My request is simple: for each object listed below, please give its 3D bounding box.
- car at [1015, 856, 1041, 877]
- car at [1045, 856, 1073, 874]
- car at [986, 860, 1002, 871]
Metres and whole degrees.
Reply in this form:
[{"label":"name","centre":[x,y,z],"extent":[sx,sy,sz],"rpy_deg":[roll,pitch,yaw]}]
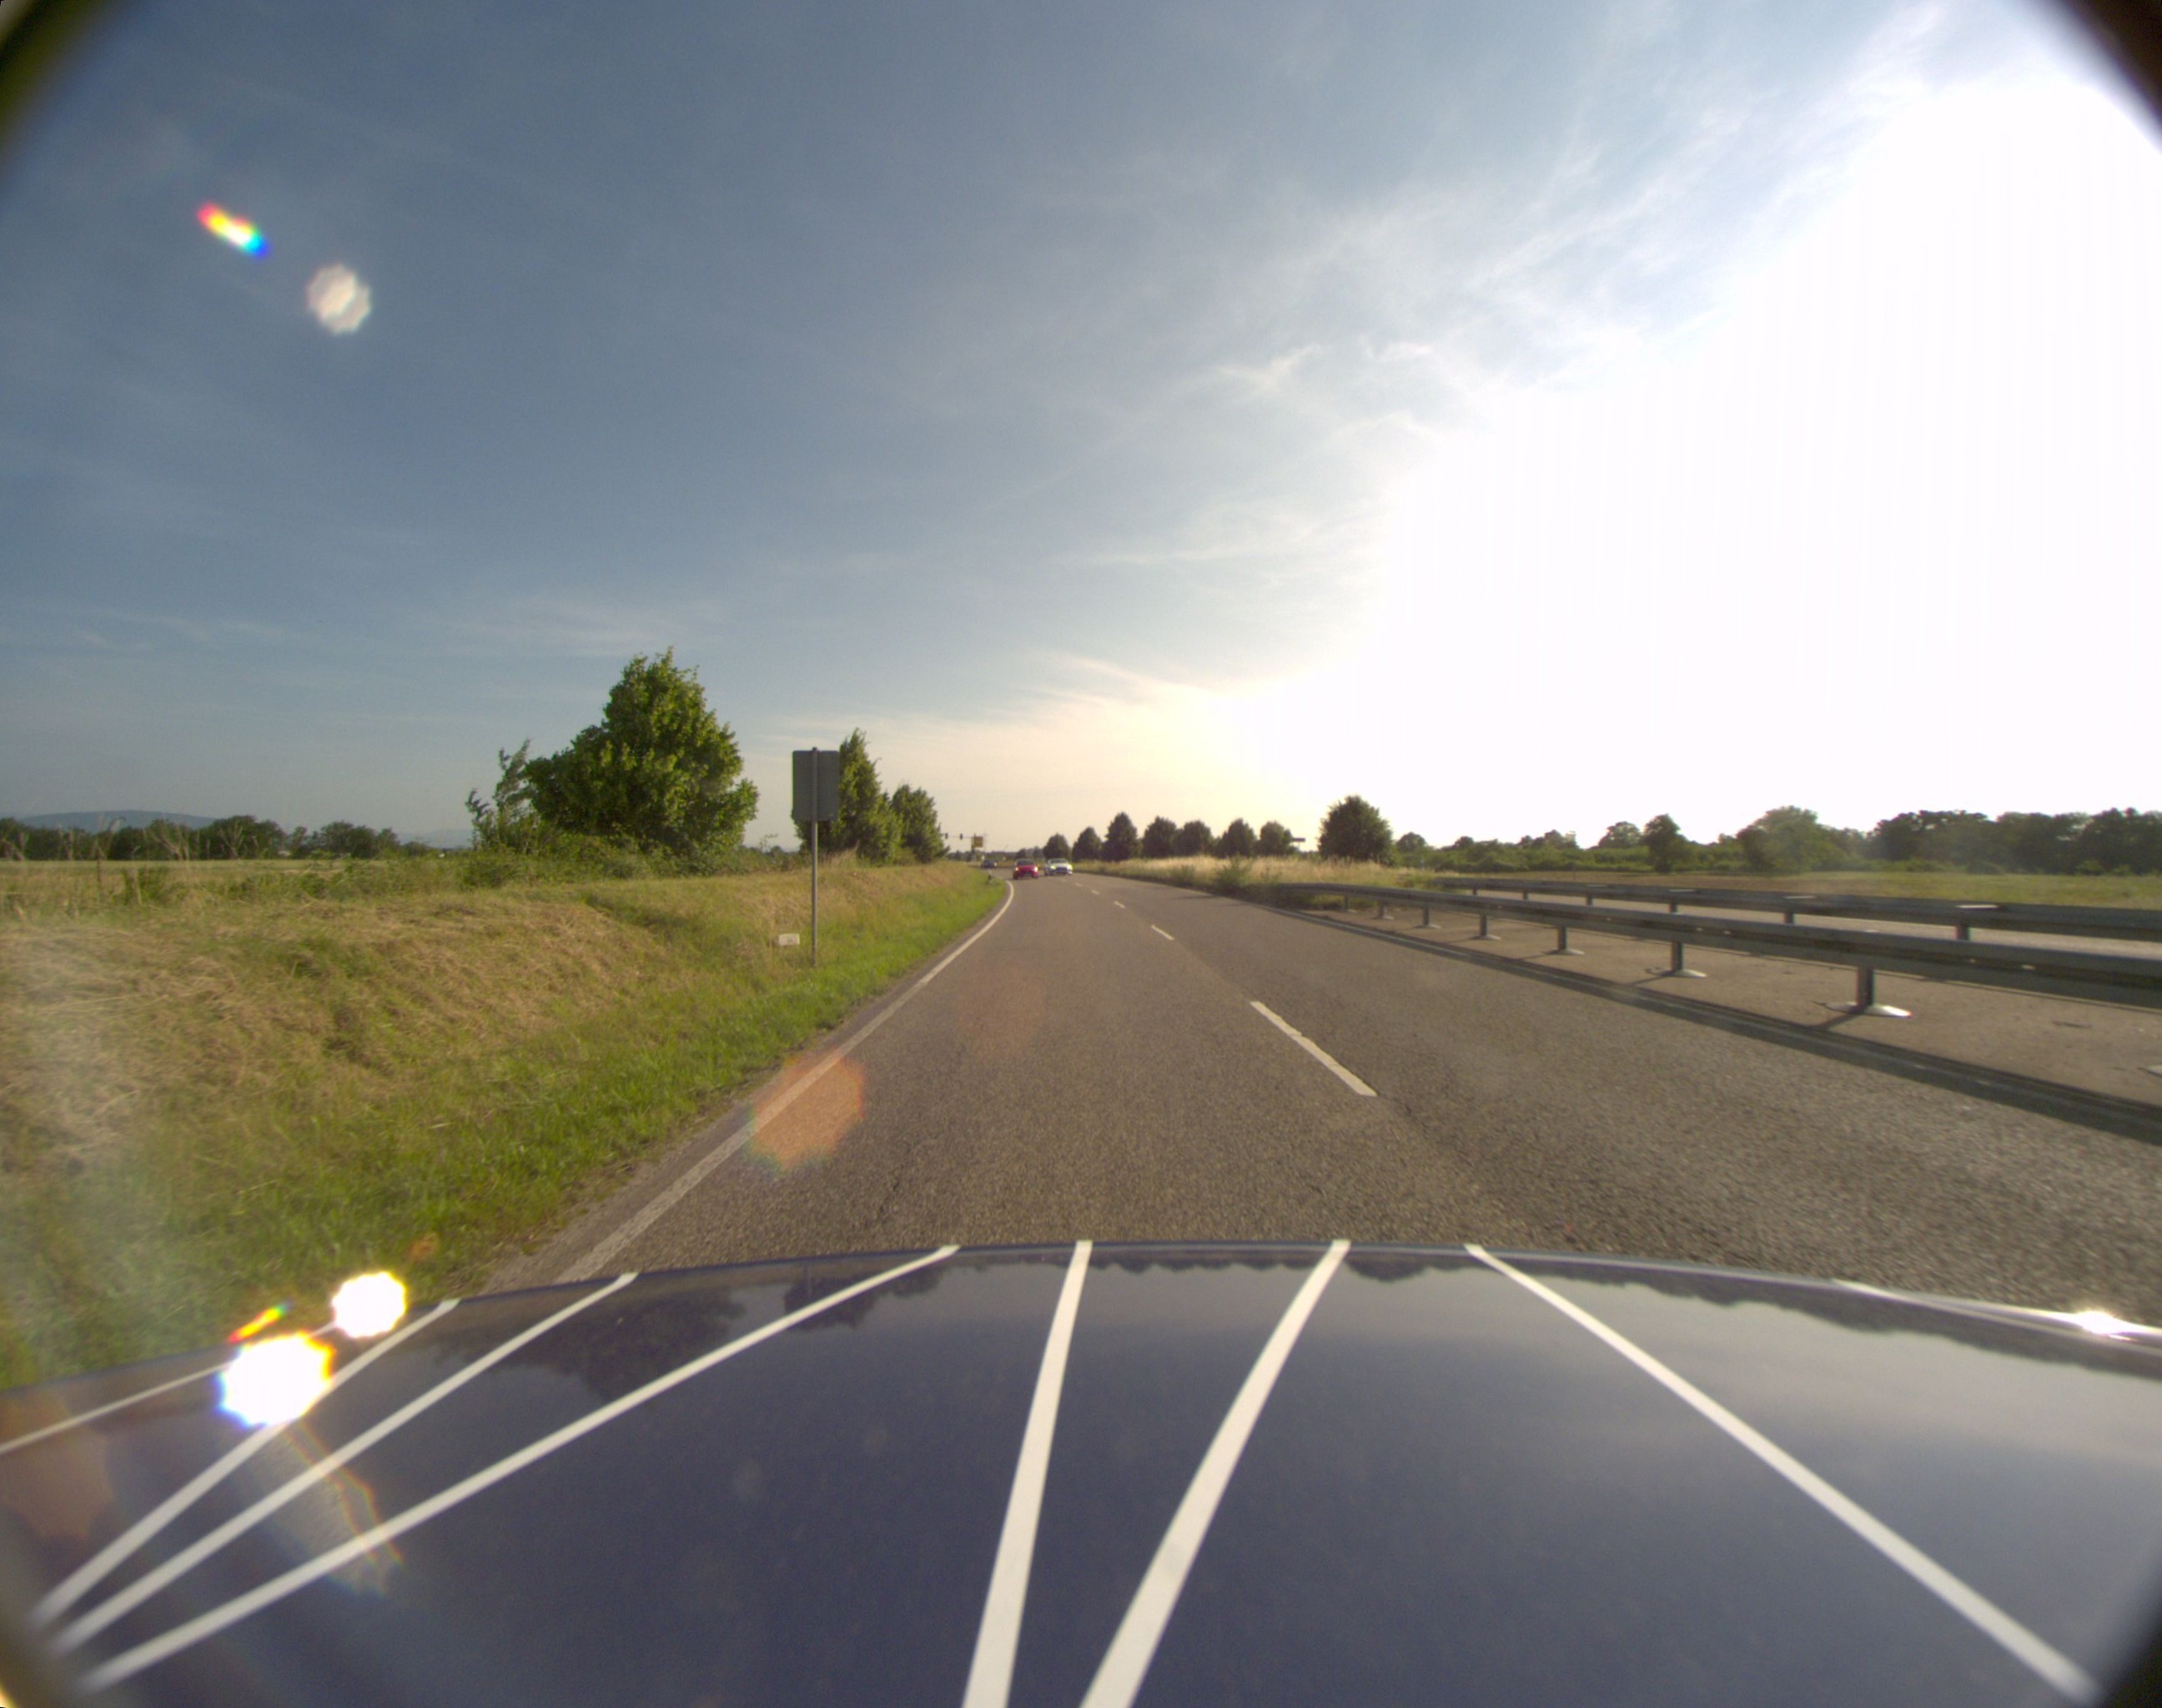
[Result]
[{"label":"car","centre":[-4.051,0.924,57.635],"extent":[1.666,1.455,3.952],"rpy_deg":[-1,1,-7]},{"label":"car","centre":[-1.918,0.922,64.310],"extent":[1.877,1.390,4.201],"rpy_deg":[-1,0,-8]},{"label":"car","centre":[-12.761,1.648,111.505],"extent":[1.754,1.521,3.994],"rpy_deg":[-1,0,-16]}]
